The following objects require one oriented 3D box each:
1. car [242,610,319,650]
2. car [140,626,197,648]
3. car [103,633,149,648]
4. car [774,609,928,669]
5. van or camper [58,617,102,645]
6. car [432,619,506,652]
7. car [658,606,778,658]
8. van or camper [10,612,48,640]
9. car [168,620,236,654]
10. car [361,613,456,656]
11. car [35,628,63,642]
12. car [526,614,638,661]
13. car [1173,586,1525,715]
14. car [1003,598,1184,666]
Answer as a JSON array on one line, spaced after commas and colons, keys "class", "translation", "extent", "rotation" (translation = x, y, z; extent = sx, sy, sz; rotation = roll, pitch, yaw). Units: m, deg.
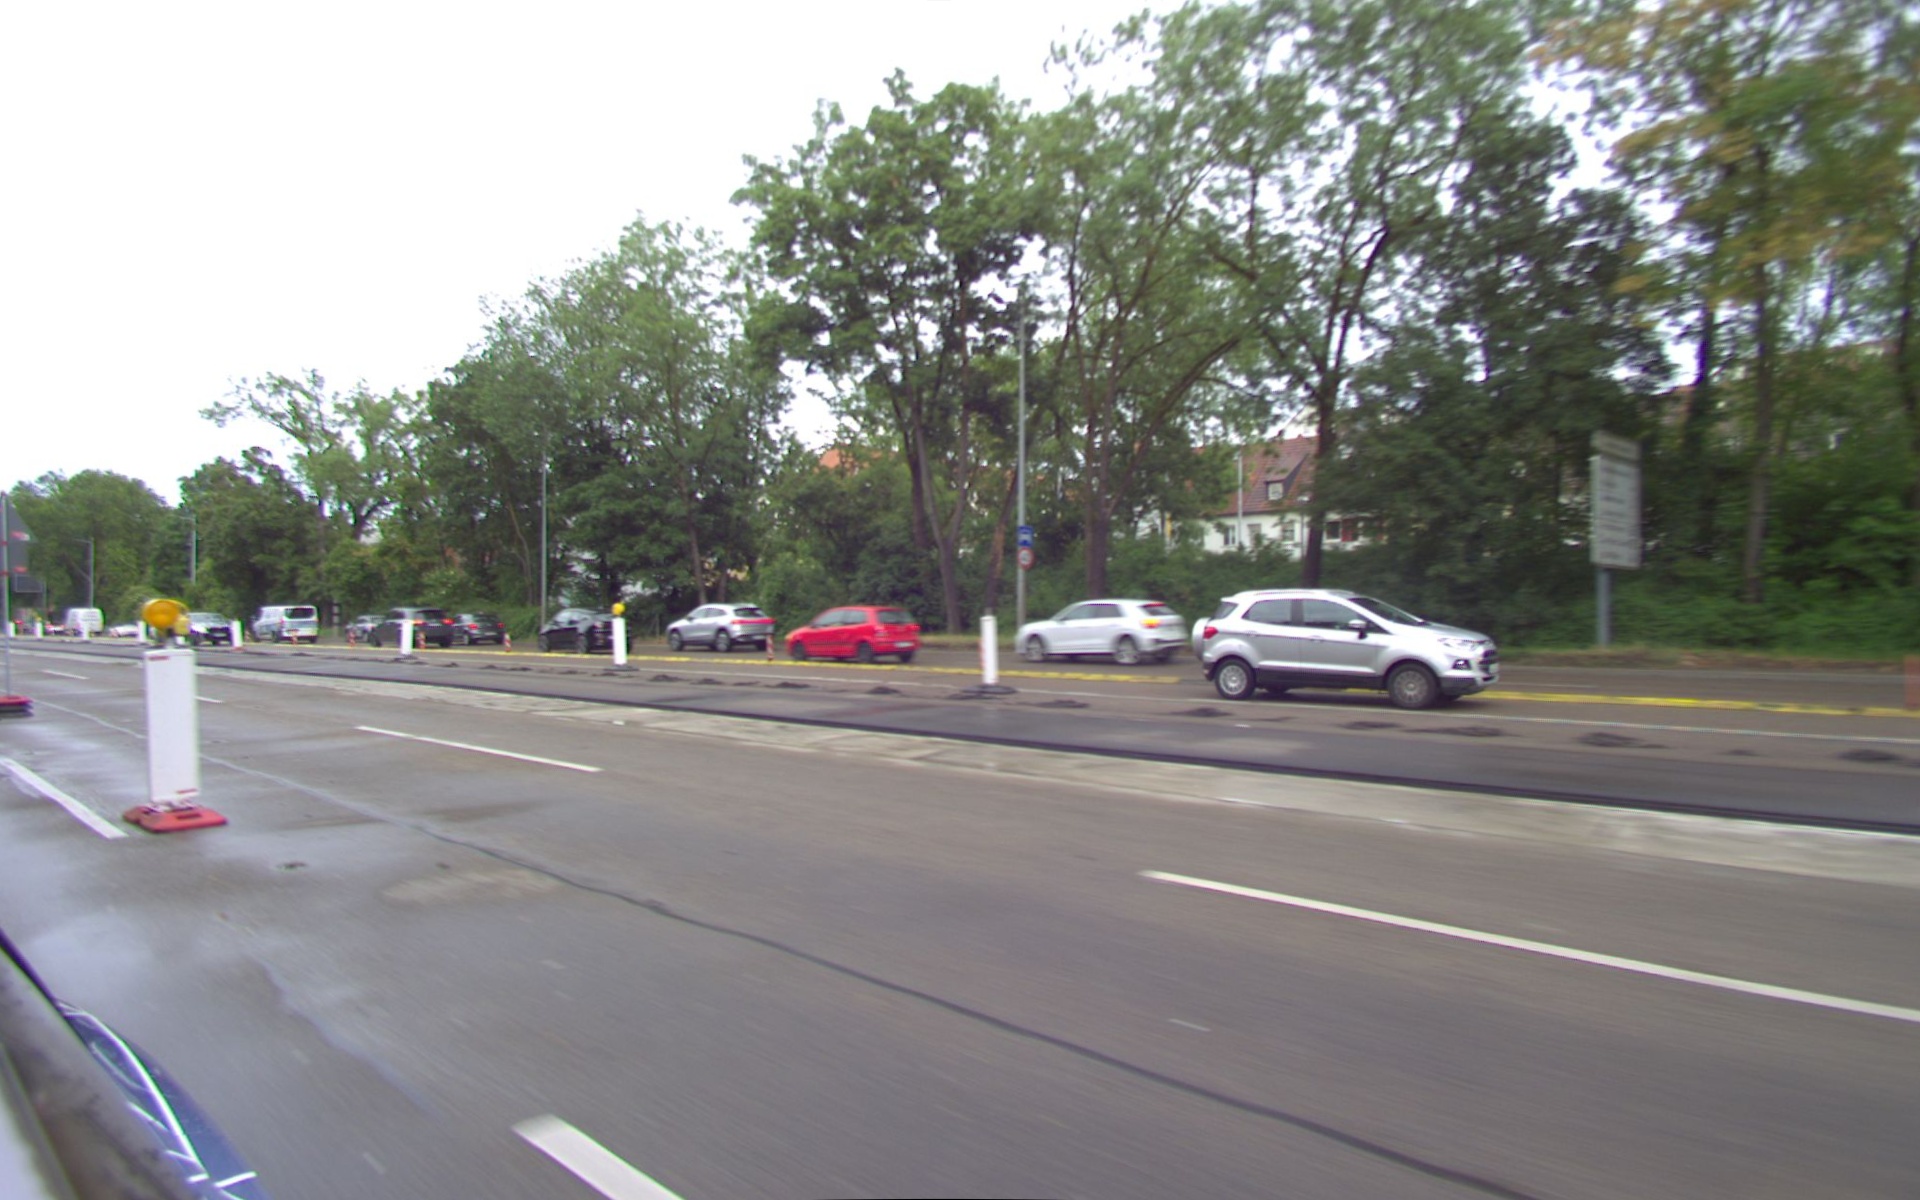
[{"class": "car", "translation": [-36.042, 1.568, 53.666], "extent": [4.896, 1.987, 1.974], "rotation": [-2, -1, 38]}, {"class": "car", "translation": [-52.758, 2.453, 67.443], "extent": [4.386, 1.426, 1.975], "rotation": [-1, -2, 37]}, {"class": "car", "translation": [-70.084, 3.428, 85.051], "extent": [3.984, 1.192, 1.677], "rotation": [-2, 0, 30]}, {"class": "car", "translation": [-2.851, 0.971, 26.080], "extent": [4.010, 1.411, 1.662], "rotation": [-2, -1, 41]}, {"class": "van or camper", "translation": [-83.916, 2.951, 96.432], "extent": [7.723, 2.574, 1.974], "rotation": [-2, 0, 40]}, {"class": "car", "translation": [-22.559, 1.605, 46.433], "extent": [3.998, 1.431, 1.628], "rotation": [-2, -1, 41]}, {"class": "car", "translation": [-8.309, 1.077, 34.515], "extent": [4.415, 1.639, 1.685], "rotation": [-2, -1, 40]}, {"class": "van or camper", "translation": [-107.713, 3.014, 117.071], "extent": [7.445, 3.086, 2.274], "rotation": [-1, -1, 40]}, {"class": "car", "translation": [-39.165, 1.875, 52.225], "extent": [4.811, 1.641, 1.972], "rotation": [-1, -1, 43]}, {"class": "car", "translation": [-24.068, 1.481, 44.088], "extent": [5.009, 1.738, 2.000], "rotation": [-2, -1, 41]}, {"class": "car", "translation": [-93.870, 3.622, 104.263], "extent": [4.079, 1.375, 1.698], "rotation": [-2, -2, 41]}, {"class": "car", "translation": [-12.974, 1.264, 34.637], "extent": [4.193, 1.499, 1.758], "rotation": [-2, -1, 40]}, {"class": "car", "translation": [5.492, 0.662, 14.632], "extent": [4.362, 1.576, 1.869], "rotation": [-2, 0, 42]}, {"class": "car", "translation": [3.166, 0.780, 24.476], "extent": [4.147, 1.508, 1.661], "rotation": [-2, -3, 41]}]
